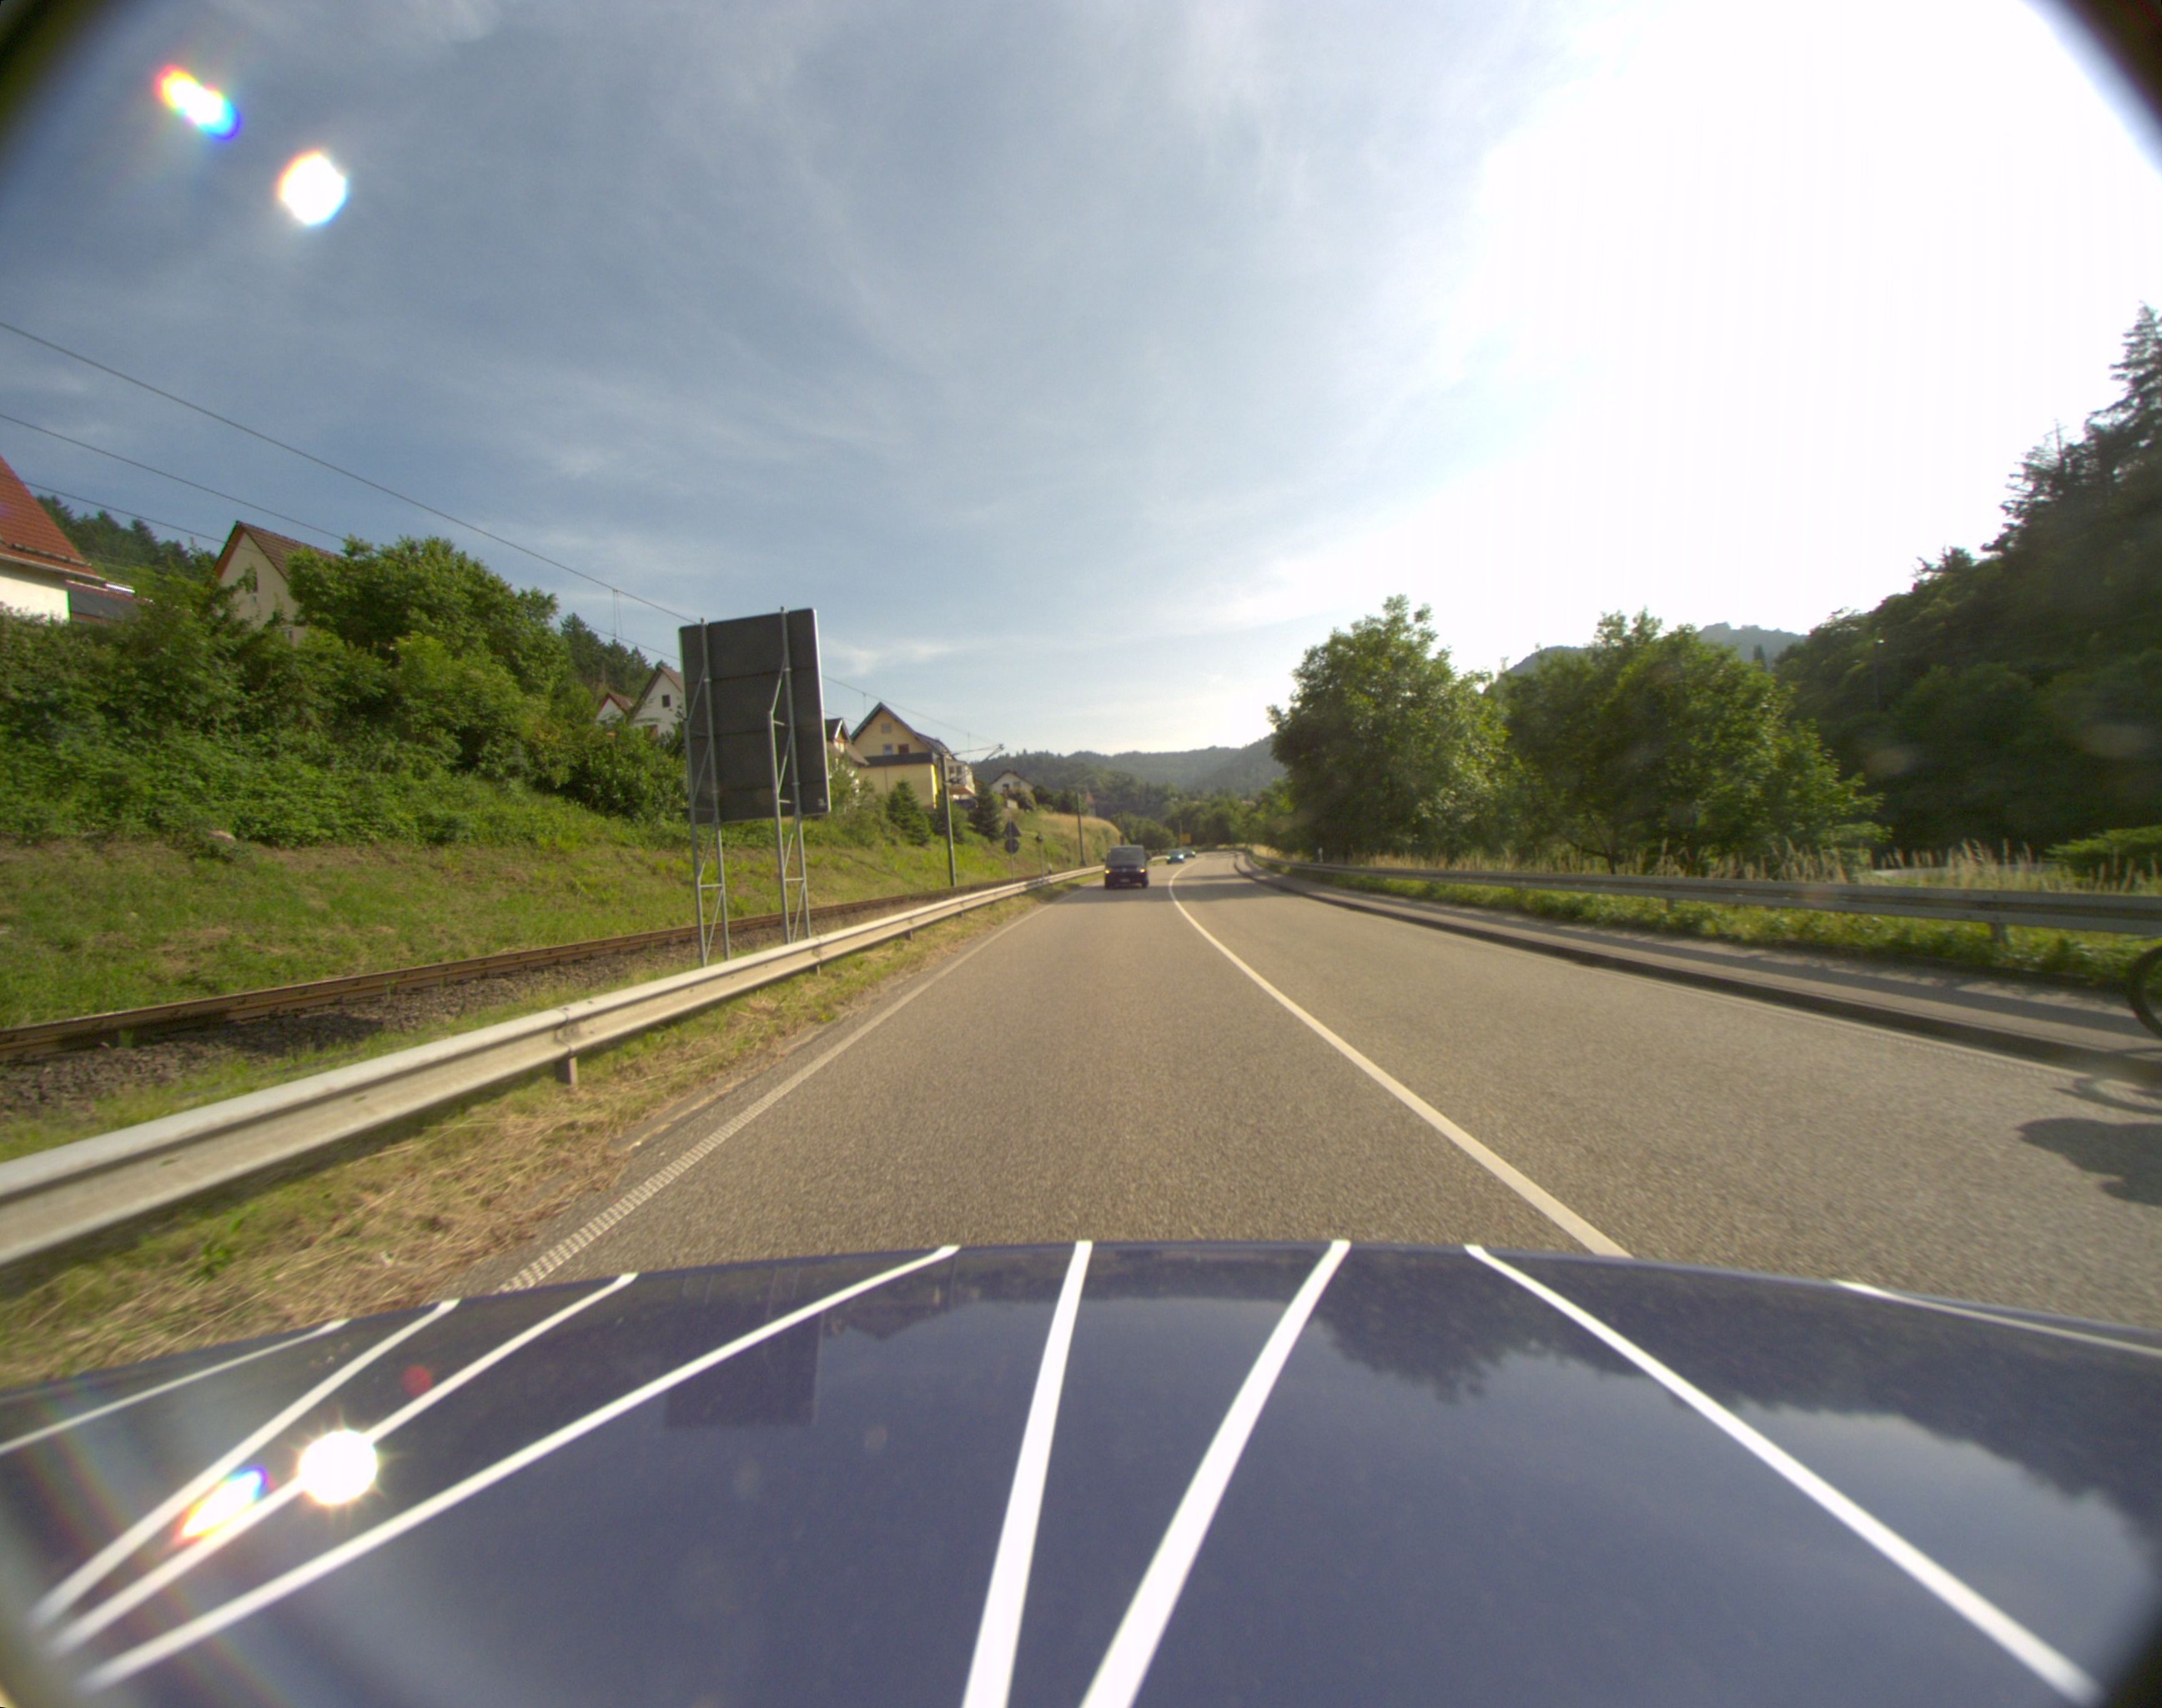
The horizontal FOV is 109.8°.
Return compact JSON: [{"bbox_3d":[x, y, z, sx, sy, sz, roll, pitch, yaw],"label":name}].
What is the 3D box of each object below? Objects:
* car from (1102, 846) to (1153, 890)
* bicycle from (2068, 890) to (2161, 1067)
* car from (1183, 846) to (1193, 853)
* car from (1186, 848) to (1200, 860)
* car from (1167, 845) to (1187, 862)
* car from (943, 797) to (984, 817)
[{"bbox_3d":[2.225,0.580,35.247,2.017,1.905,4.314,-1,1,8],"label":"car"},{"bbox_3d":[6.907,0.780,3.995,0.558,1.039,2.230,-6,-1,5],"label":"bicycle"},{"bbox_3d":[23.312,-0.898,165.801,1.582,1.471,3.999,-1,0,-2],"label":"car"},{"bbox_3d":[16.467,-0.029,111.481,1.884,1.735,4.181,-1,0,7],"label":"car"},{"bbox_3d":[10.356,-0.040,81.732,1.883,1.735,4.182,-1,0,11],"label":"car"},{"bbox_3d":[-12.180,-4.860,78.989,3.749,1.531,1.752,-6,1,4],"label":"car"}]
